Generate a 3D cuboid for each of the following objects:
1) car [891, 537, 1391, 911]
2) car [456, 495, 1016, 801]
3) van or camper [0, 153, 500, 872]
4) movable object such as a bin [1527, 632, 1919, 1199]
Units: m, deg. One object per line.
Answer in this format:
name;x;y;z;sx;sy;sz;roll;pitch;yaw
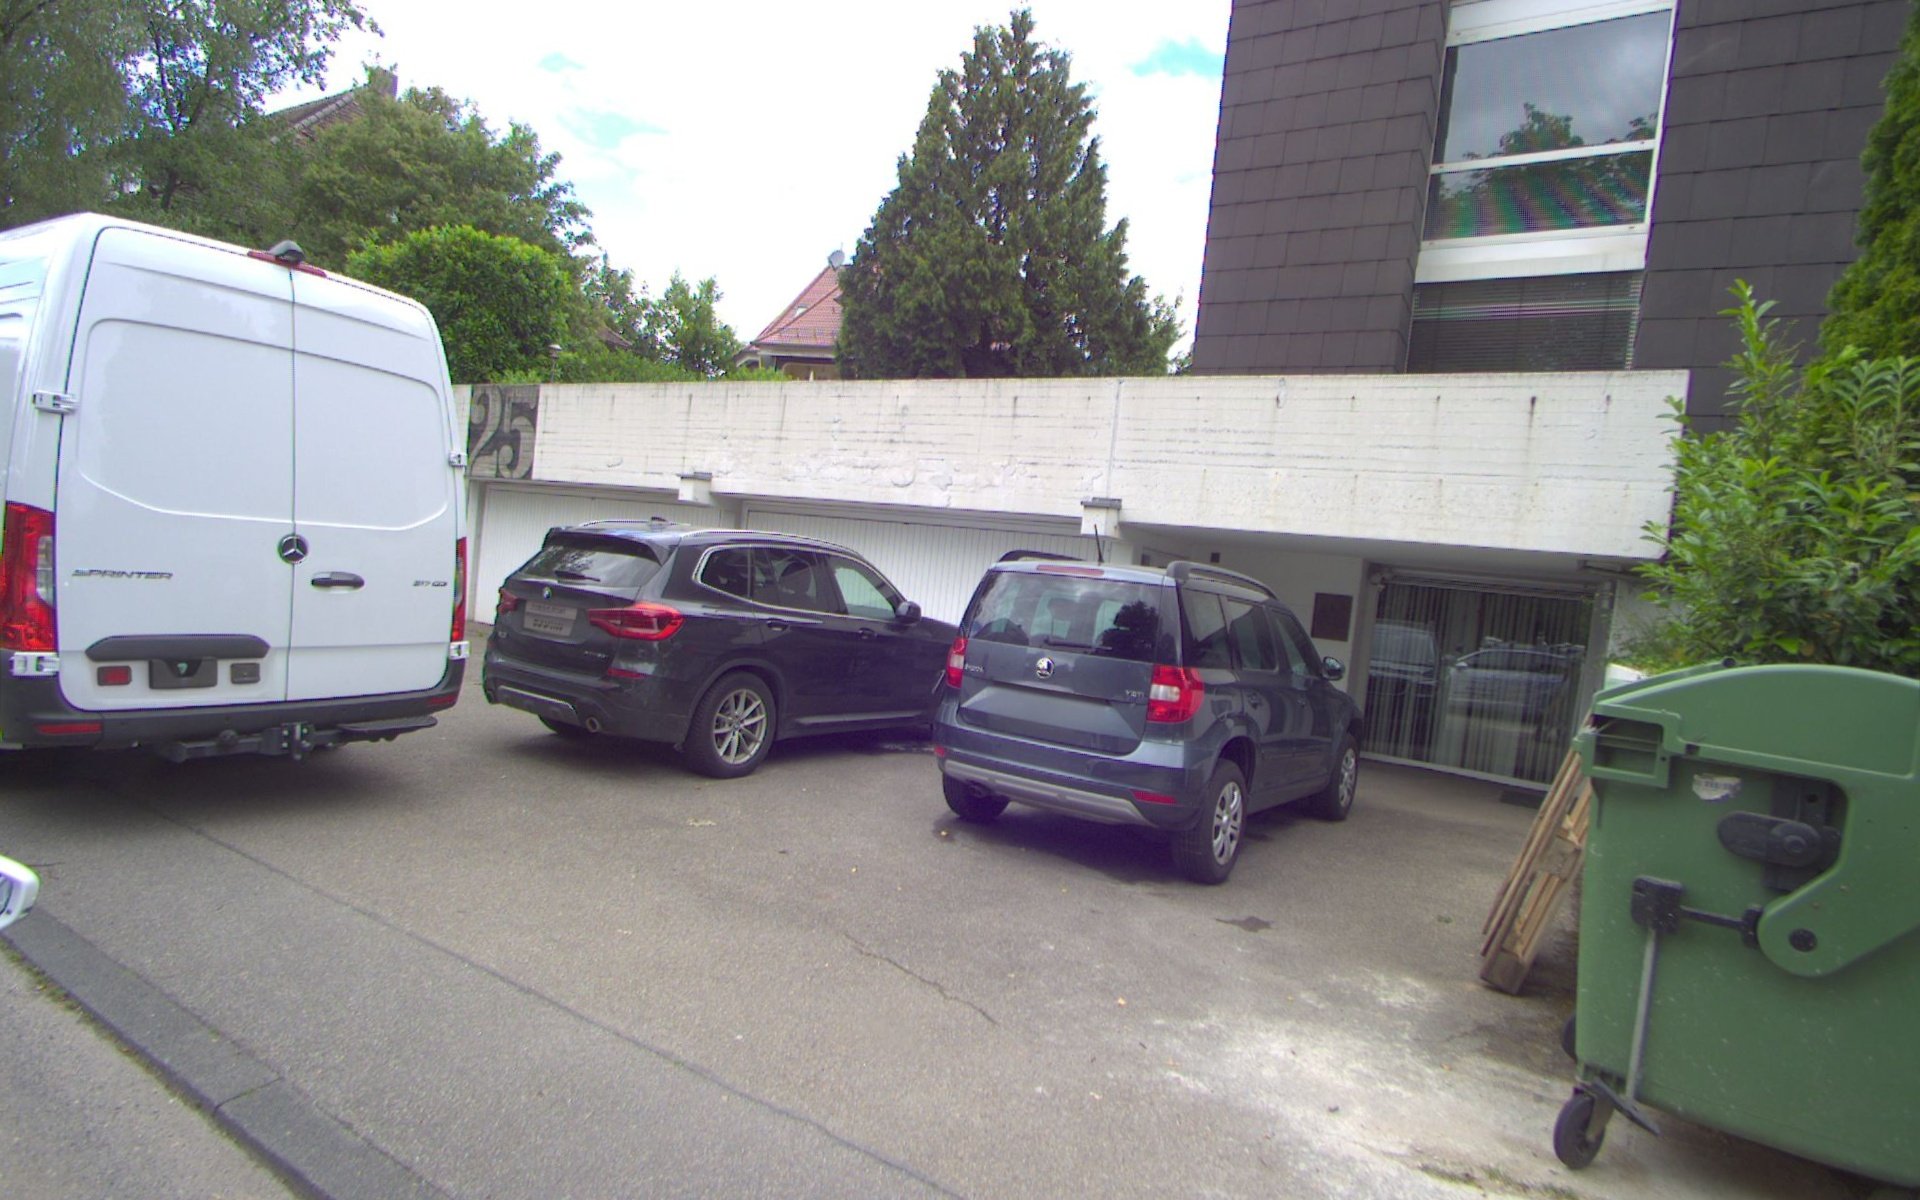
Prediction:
car;1.487;0.644;6.791;1.717;1.673;3.899;6;1;35
car;-1.403;0.322;8.030;1.668;1.696;4.383;6;1;32
van or camper;-5.770;-0.580;6.273;6.436;2.662;1.990;6;4;32
movable object such as a bin;2.412;0.904;2.971;1.098;1.469;1.405;6;1;32
